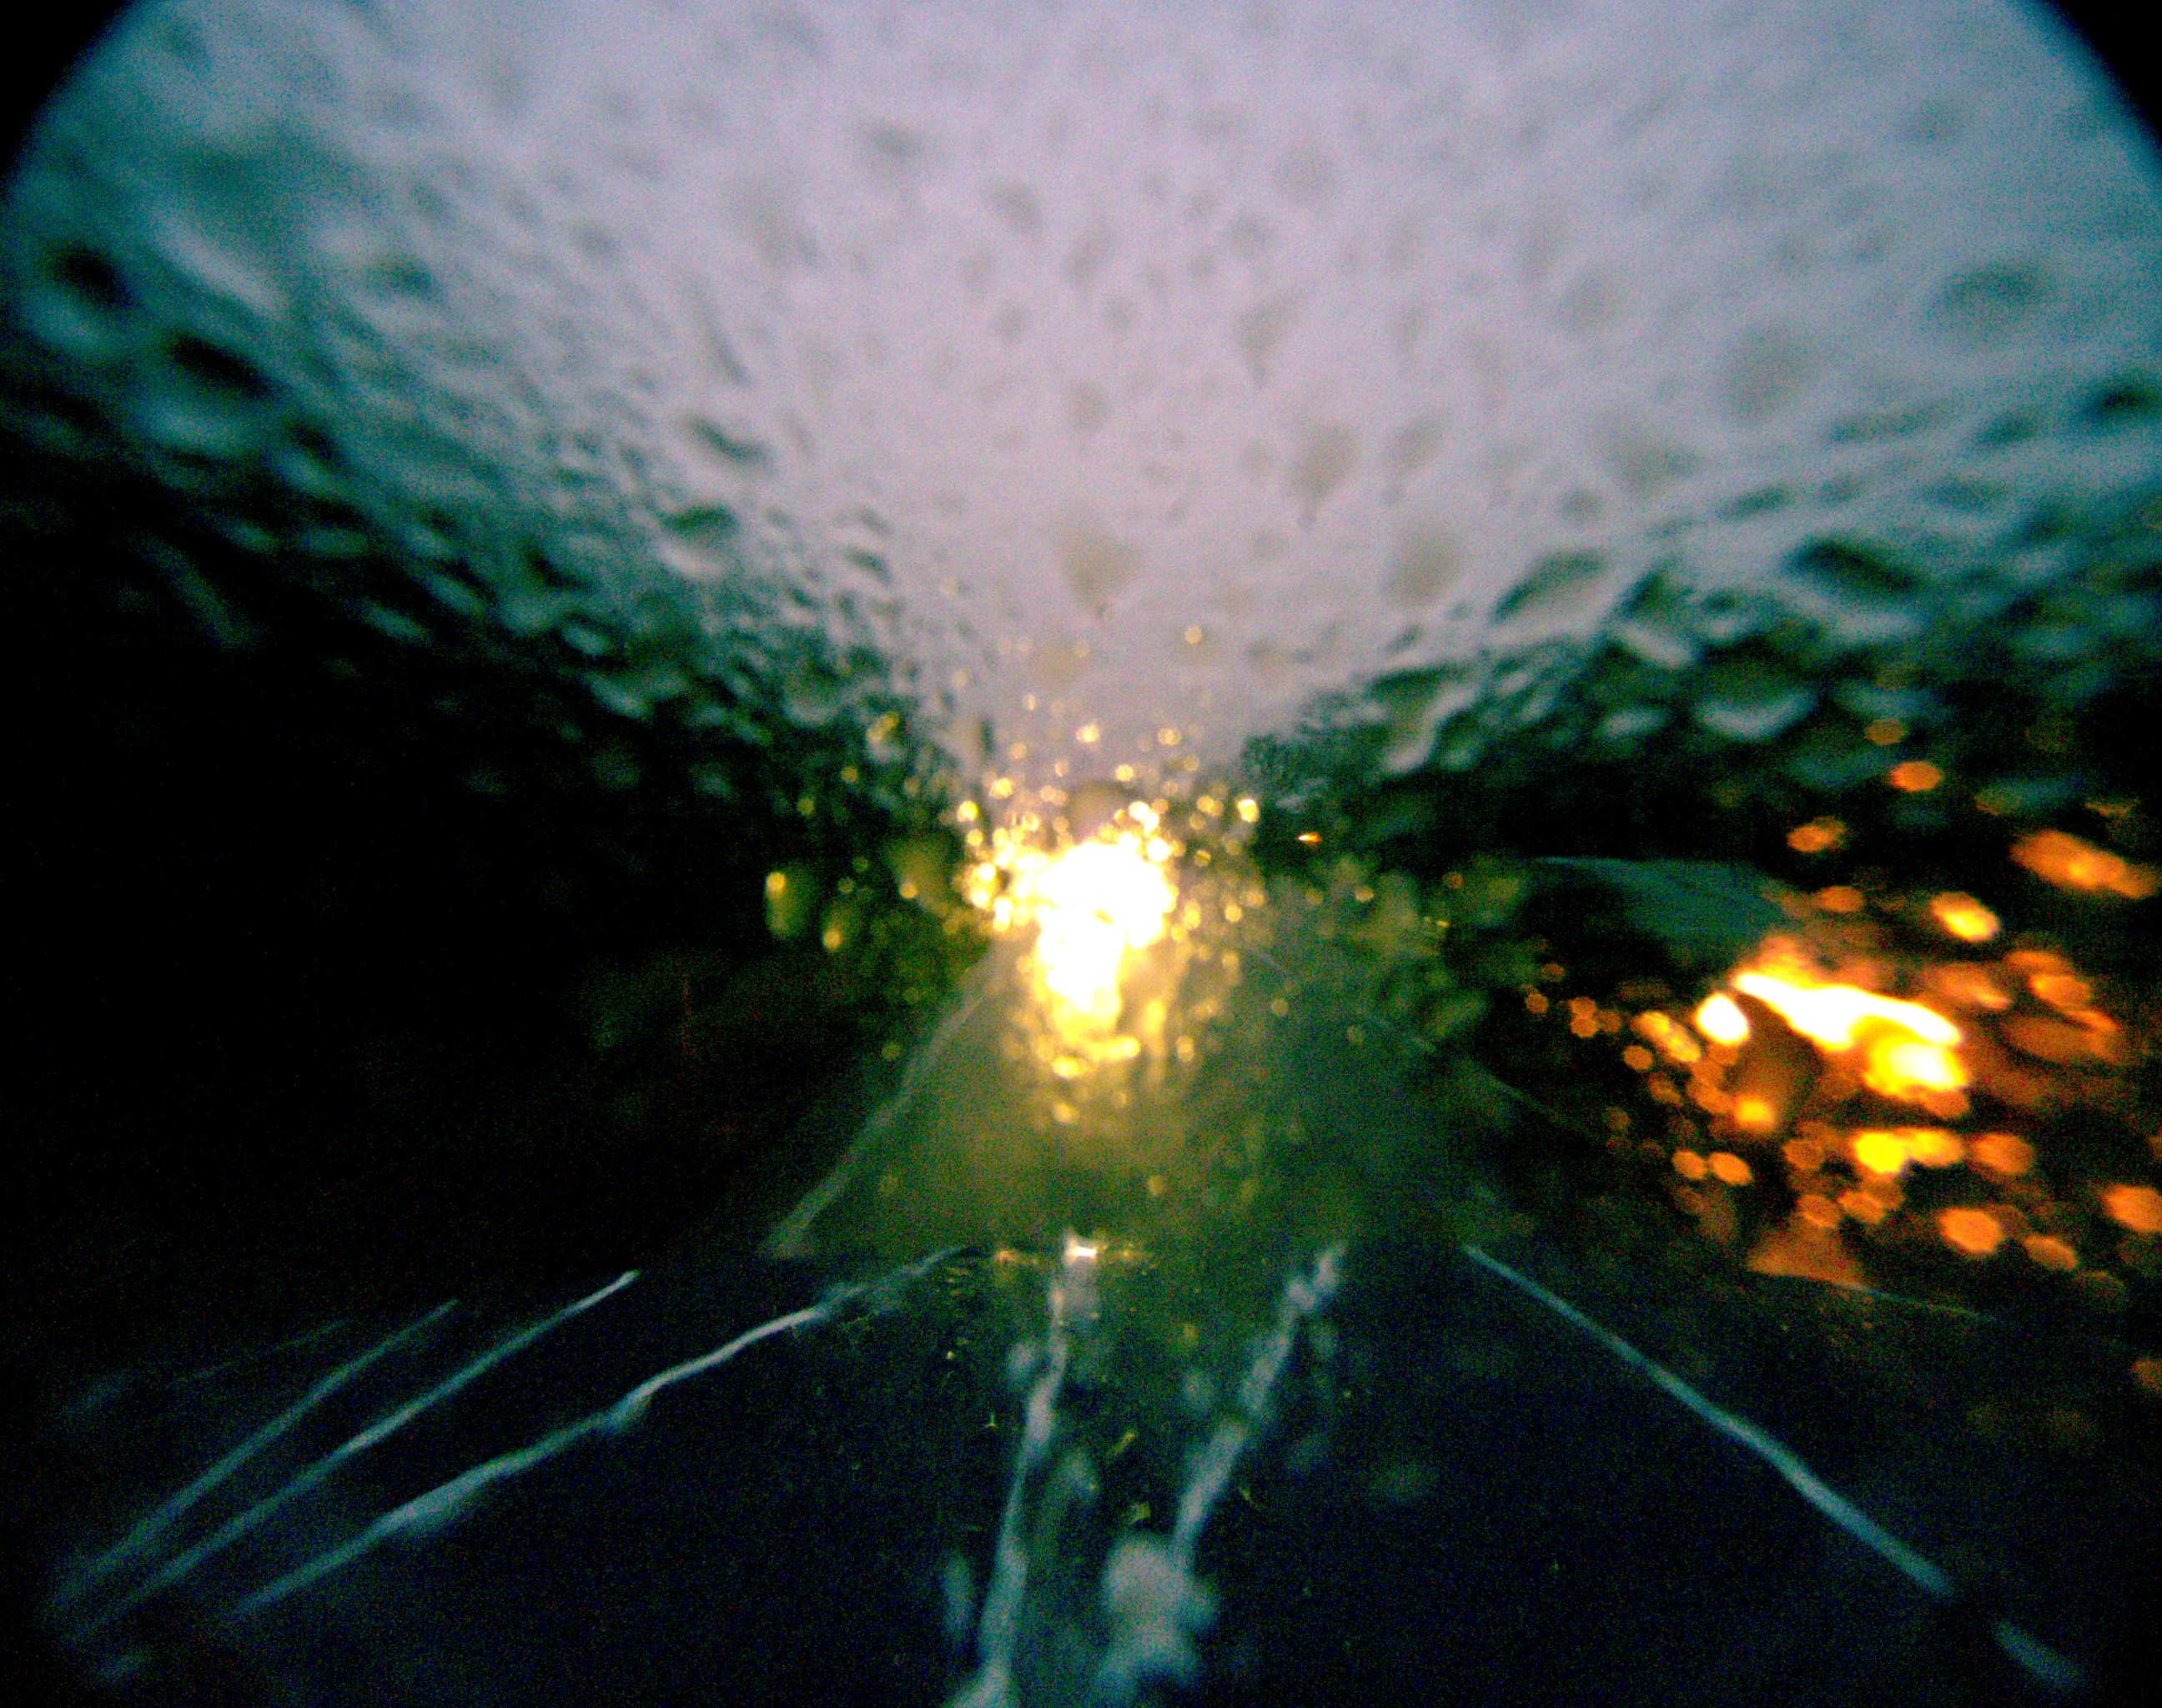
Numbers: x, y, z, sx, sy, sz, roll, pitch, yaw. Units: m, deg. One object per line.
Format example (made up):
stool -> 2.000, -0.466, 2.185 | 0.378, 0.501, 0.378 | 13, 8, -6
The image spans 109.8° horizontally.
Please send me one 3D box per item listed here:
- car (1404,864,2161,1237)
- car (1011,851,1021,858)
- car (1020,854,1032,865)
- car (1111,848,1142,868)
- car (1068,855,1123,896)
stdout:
car -> 3.958, 0.851, 5.255 | 1.636, 1.413, 4.171 | -3, 0, 0
car -> -14.166, 0.058, 165.192 | 1.771, 1.488, 4.098 | -1, 0, -12
car -> -8.804, 0.839, 120.893 | 1.702, 1.721, 3.997 | -2, 1, -6
car -> 4.049, 0.314, 67.913 | 1.999, 1.639, 4.719 | -2, 1, -6
car -> 0.524, 0.799, 30.563 | 1.851, 1.429, 4.243 | -1, 1, -4
